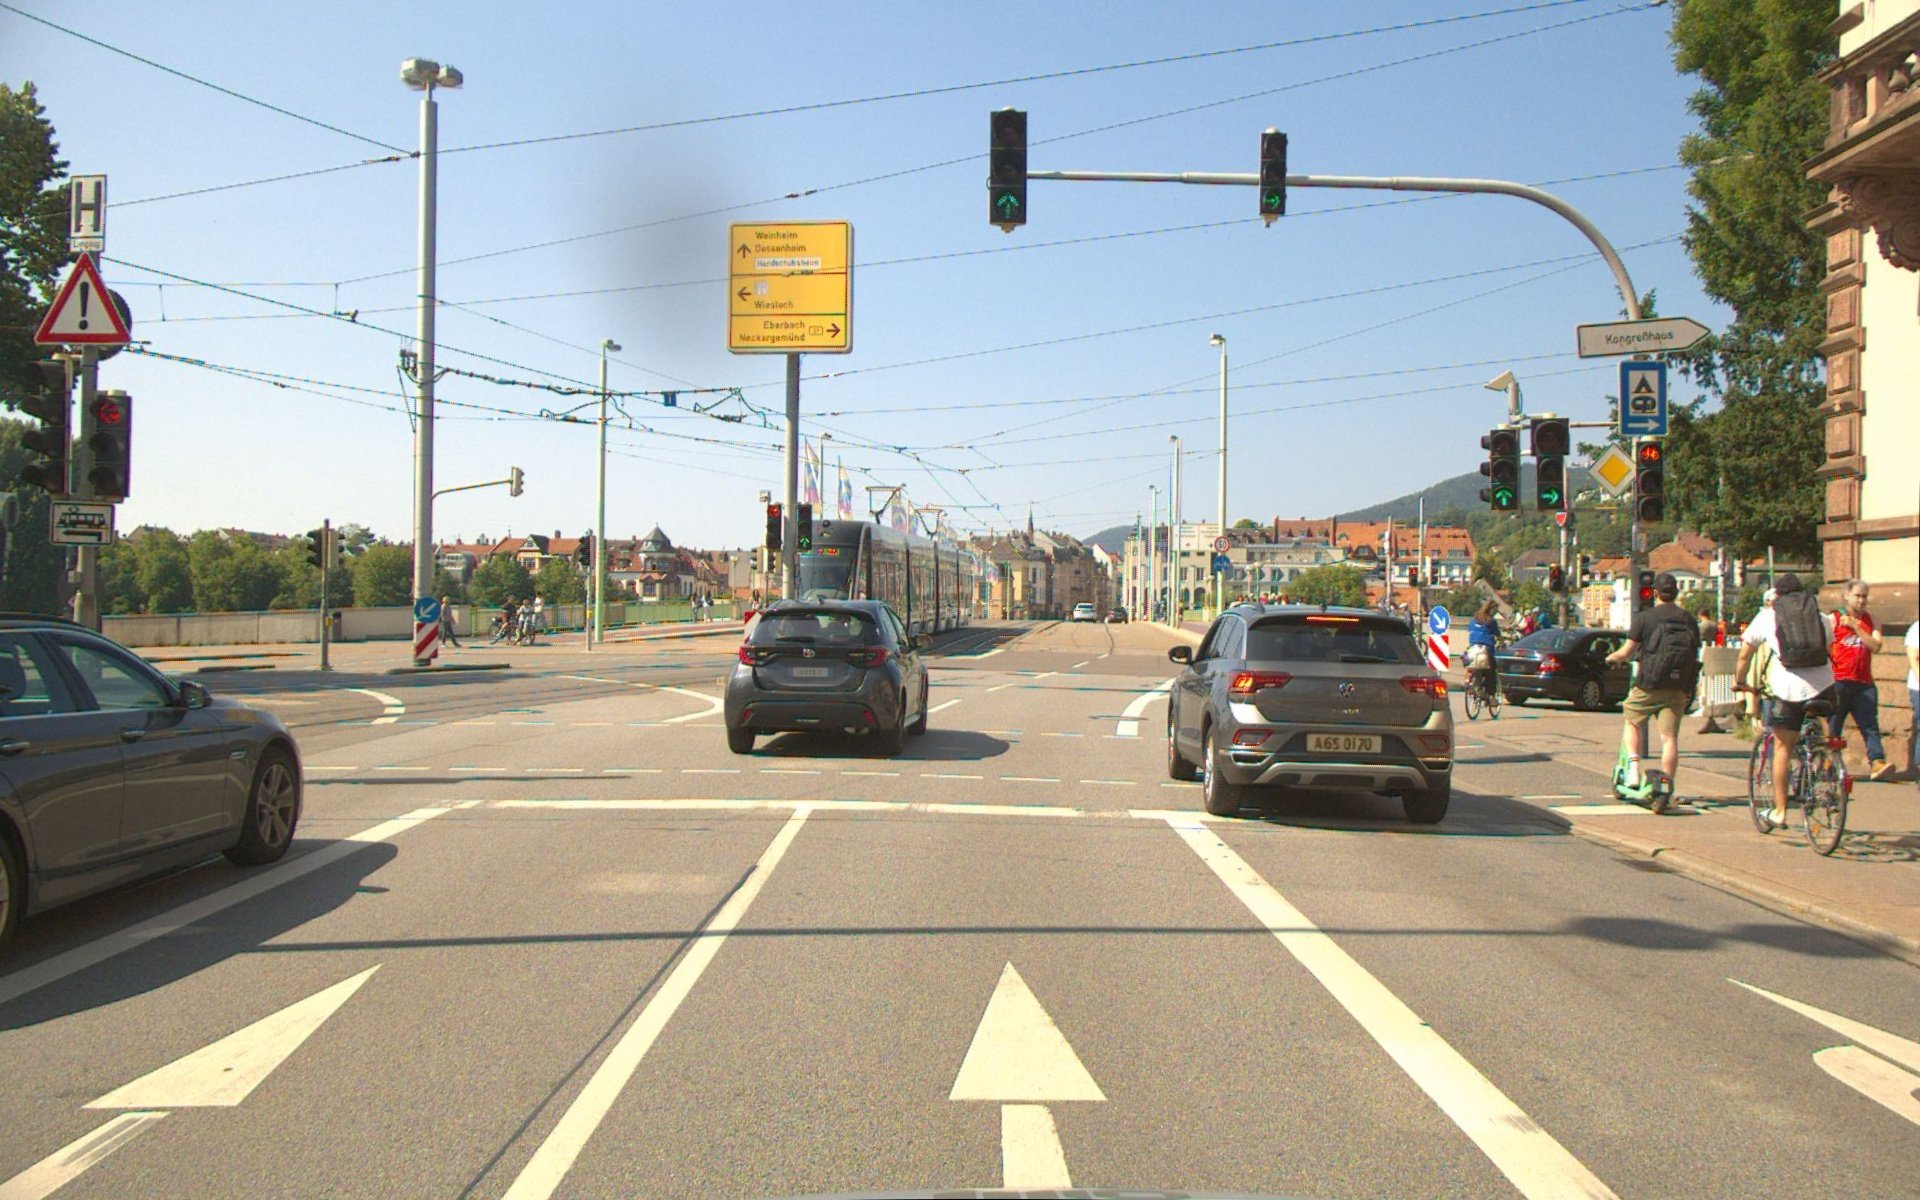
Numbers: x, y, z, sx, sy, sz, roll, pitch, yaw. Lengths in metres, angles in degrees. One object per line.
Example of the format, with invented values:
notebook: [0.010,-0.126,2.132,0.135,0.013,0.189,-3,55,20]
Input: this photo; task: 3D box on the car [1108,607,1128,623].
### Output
car: [15.227,1.493,159.581,1.766,1.495,4.001,-1,-1,3]

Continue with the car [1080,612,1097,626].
car: [16.142,2.400,208.517,1.952,1.747,4.001,1,-1,2]

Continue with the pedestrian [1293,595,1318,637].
pedestrian: [14.006,0.658,67.096,0.783,1.664,0.949,1,-1,-1]

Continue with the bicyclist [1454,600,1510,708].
bicyclist: [7.924,0.801,25.152,0.758,1.581,1.060,1,0,15]

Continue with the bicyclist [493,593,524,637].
bicyclist: [-15.431,0.504,56.486,0.987,1.474,0.812,0,0,-17]

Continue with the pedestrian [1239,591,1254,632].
pedestrian: [12.935,0.517,74.709,0.538,1.830,0.645,1,-1,-1]

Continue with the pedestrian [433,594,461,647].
pedestrian: [-17.042,0.680,54.931,0.822,1.727,1.091,0,0,-21]

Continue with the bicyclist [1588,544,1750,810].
bicyclist: [5.620,0.594,13.150,0.922,2.049,0.830,0,0,-1]

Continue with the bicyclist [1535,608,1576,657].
bicyclist: [18.903,1.036,52.529,1.057,1.499,0.929,2,0,13]

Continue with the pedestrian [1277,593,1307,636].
pedestrian: [13.892,0.600,69.172,0.965,1.800,1.254,0,0,-1]

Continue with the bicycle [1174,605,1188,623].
bicycle: [15.592,0.995,116.746,0.681,1.214,2.079,0,-1,-1]

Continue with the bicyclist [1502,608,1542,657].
bicyclist: [17.805,1.029,52.375,1.059,1.499,0.761,2,0,28]

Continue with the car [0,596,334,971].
car: [-4.729,0.750,7.828,1.712,1.512,4.747,-1,0,0]

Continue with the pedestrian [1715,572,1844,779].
pedestrian: [7.320,0.656,14.815,0.691,1.800,0.903,0,0,-2]

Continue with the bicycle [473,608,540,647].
bicycle: [-15.490,0.930,56.455,2.202,1.301,0.736,0,0,-18]

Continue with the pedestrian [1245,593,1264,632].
pedestrian: [13.393,0.587,75.217,0.681,1.746,0.731,1,-1,-1]

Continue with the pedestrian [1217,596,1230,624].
pedestrian: [16.660,0.626,104.698,0.641,1.774,0.978,1,1,-1]

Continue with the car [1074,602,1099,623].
car: [9.733,0.971,127.662,1.766,1.495,4.000,-1,-1,2]

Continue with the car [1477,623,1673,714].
car: [11.444,1.212,30.645,1.967,1.461,3.972,2,1,44]

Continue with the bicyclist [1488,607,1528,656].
bicyclist: [17.669,1.014,53.358,1.057,1.499,0.929,2,0,11]

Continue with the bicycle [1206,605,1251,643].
bicycle: [8.272,0.721,51.138,0.776,1.115,3.744,0,0,0]

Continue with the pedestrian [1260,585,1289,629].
pedestrian: [12.762,0.291,67.132,0.965,1.781,0.929,1,-1,-1]

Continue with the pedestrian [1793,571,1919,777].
pedestrian: [8.095,0.652,14.873,0.691,1.783,0.903,-1,-1,-2]

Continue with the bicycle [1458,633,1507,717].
bicycle: [7.954,1.114,25.225,0.602,1.185,2.251,1,0,15]

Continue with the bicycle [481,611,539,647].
bicycle: [-15.594,0.985,57.301,1.938,1.230,0.636,0,0,-18]

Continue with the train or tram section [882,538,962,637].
train or tram section: [-1.444,-0.493,67.722,2.353,3.745,9.624,0,0,4]

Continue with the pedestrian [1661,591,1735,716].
pedestrian: [12.402,0.882,27.821,0.759,2.049,1.059,0,0,0]

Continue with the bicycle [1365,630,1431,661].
bicycle: [13.554,1.401,51.208,1.897,0.841,0.566,2,0,9]

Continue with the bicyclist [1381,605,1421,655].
bicyclist: [13.655,0.925,51.242,1.057,1.499,0.801,2,0,9]

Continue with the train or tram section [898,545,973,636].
train or tram section: [-0.971,-0.436,75.621,2.418,3.843,11.856,0,0,4]

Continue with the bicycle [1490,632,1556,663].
bicycle: [17.812,1.485,52.351,1.902,0.868,0.564,2,0,28]

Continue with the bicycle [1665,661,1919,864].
bicycle: [5.517,1.006,10.915,0.763,1.122,2.138,0,0,-2]

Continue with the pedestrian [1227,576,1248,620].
pedestrian: [12.894,-0.095,76.960,0.787,2.049,0.954,1,-1,-1]

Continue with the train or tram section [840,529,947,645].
train or tram section: [-2.252,-0.458,59.559,2.483,3.843,9.176,0,0,6]

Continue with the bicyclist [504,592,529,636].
bicyclist: [-15.381,0.492,57.365,0.811,1.519,0.872,0,0,-17]

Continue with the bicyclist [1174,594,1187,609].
bicyclist: [15.550,0.106,116.609,0.653,1.063,0.980,-4,-1,-1]

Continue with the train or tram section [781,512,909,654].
train or tram section: [-3.277,-0.486,49.668,2.484,3.843,9.174,0,0,4]

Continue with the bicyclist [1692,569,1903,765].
bicyclist: [5.525,0.426,10.970,0.902,1.241,0.971,0,0,-1]

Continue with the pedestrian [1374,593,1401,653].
pedestrian: [13.453,0.710,52.100,0.757,1.888,0.645,0,0,7]

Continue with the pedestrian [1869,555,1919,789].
pedestrian: [8.170,0.580,13.789,0.622,1.924,0.903,-2,0,-2]

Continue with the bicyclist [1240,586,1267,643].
bicyclist: [9.334,0.459,52.687,0.659,1.774,1.150,0,-1,0]

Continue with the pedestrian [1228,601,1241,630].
pedestrian: [15.360,0.862,92.525,0.636,1.590,0.692,0,0,3]

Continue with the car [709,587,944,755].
car: [-1.270,0.666,17.462,1.870,1.567,4.002,0,0,4]

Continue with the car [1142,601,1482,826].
car: [2.635,0.780,13.332,1.890,1.542,3.993,0,0,0]

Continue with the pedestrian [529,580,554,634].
pedestrian: [-15.850,0.265,62.574,0.884,2.049,0.830,0,0,-17]
